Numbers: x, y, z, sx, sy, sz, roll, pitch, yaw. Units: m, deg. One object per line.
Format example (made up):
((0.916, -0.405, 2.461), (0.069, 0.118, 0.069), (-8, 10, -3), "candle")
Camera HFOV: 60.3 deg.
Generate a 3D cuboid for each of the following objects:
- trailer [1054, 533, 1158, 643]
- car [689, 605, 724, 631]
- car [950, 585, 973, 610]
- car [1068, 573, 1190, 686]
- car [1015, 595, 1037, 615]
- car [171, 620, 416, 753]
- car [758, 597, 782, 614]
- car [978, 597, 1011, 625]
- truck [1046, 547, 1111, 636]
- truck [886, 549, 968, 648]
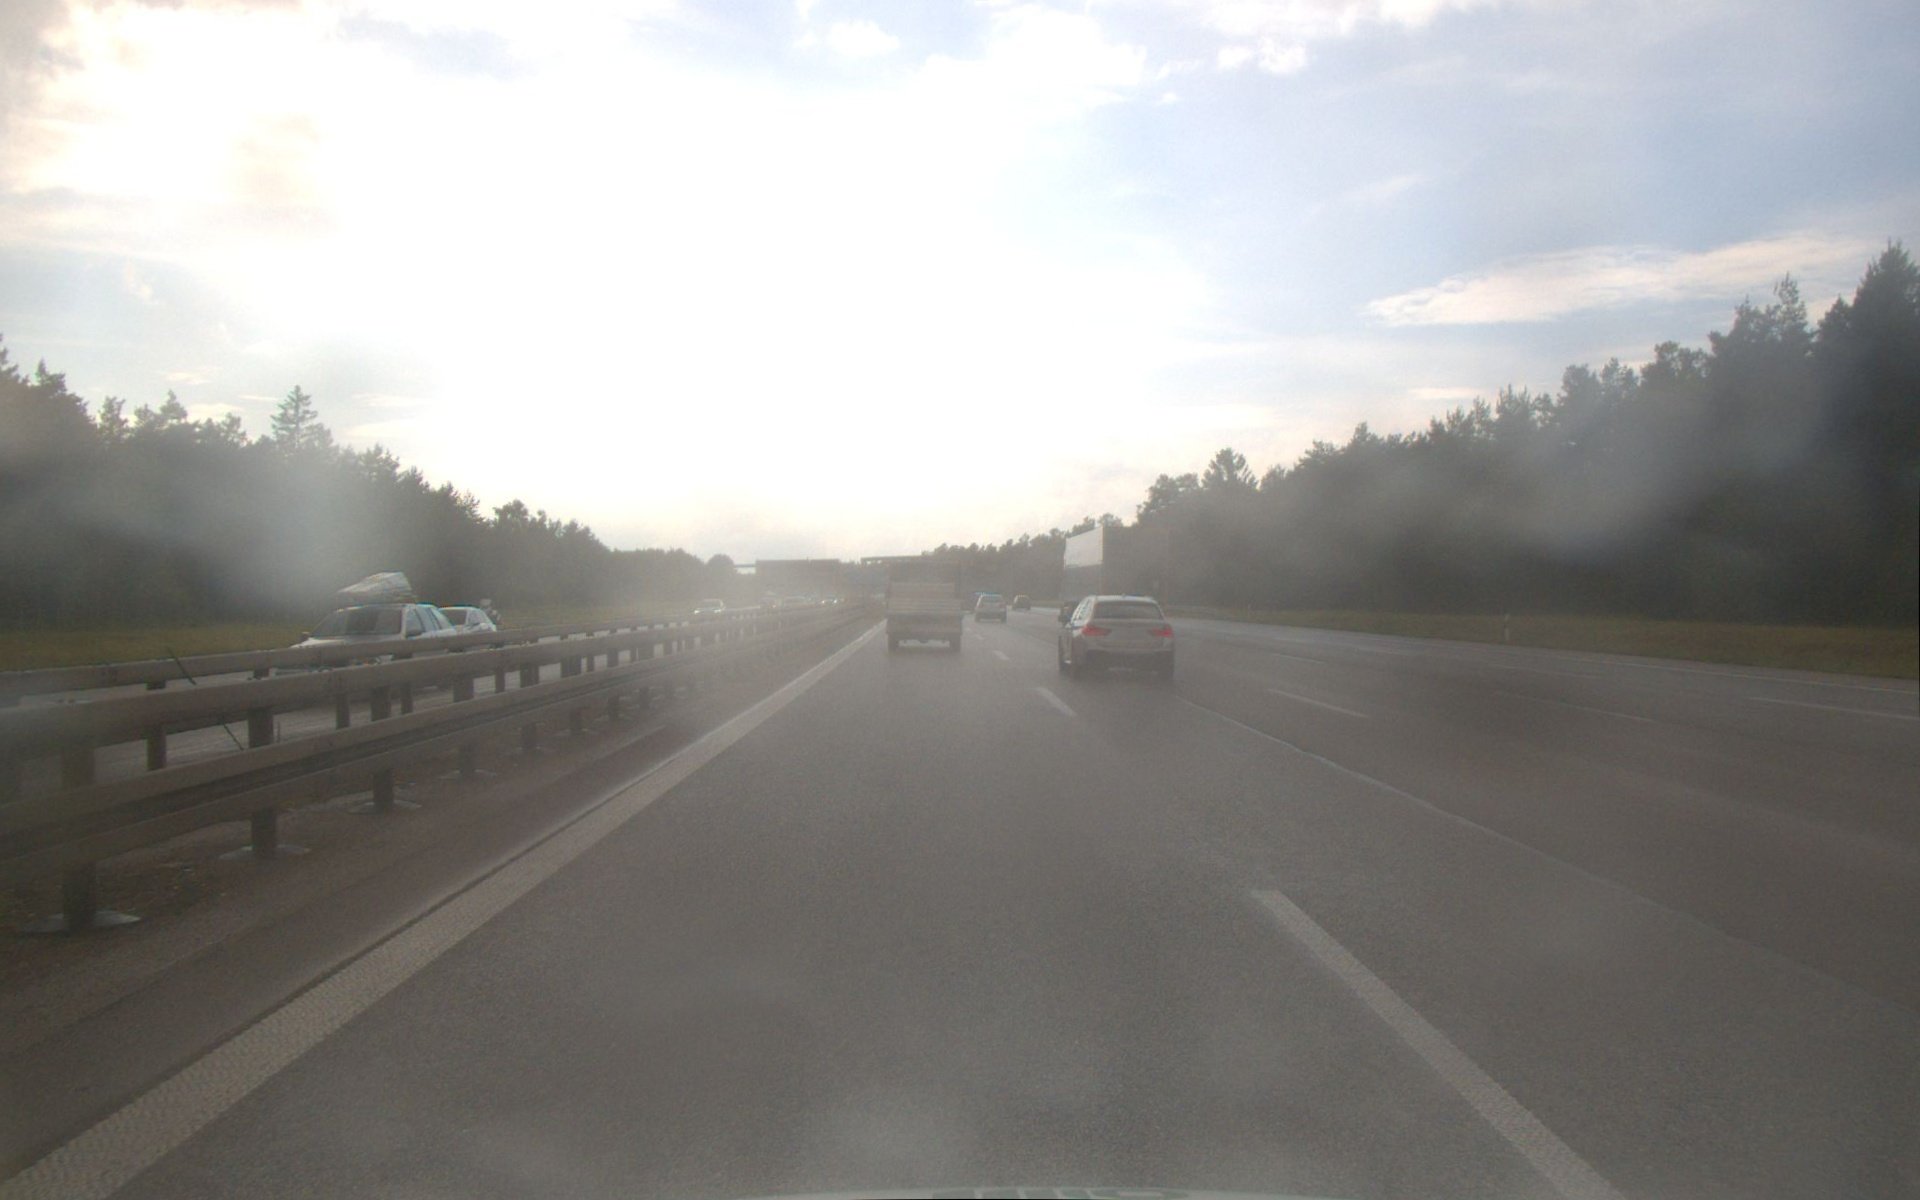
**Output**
((5.835, -0.455, 68.374), (2.278, 4.071, 13.401), (0, 0, -4), "trailer")
((-15.488, 1.092, 101.150), (1.693, 1.507, 3.998), (-1, 0, -3), "car")
((0.080, -0.197, 137.820), (1.869, 2.049, 3.999), (0, 0, -1), "car")
((3.092, 0.495, 31.220), (2.034, 1.918, 5.013), (1, 0, 3), "car")
((6.779, 0.488, 169.978), (1.953, 2.049, 3.999), (1, 0, -1), "car")
((-9.278, 1.138, 23.423), (1.749, 1.574, 4.401), (-2, 0, -2), "car")
((-17.410, 0.469, 151.753), (1.775, 1.447, 4.234), (-3, 0, -2), "car")
((1.935, 0.605, 93.452), (1.793, 1.492, 4.000), (0, 0, 0), "car")
((5.358, -0.399, 75.671), (2.248, 3.935, 5.388), (0, 0, -4), "truck")
((-0.897, -0.041, 45.080), (2.094, 2.532, 5.311), (0, 0, -1), "truck")
